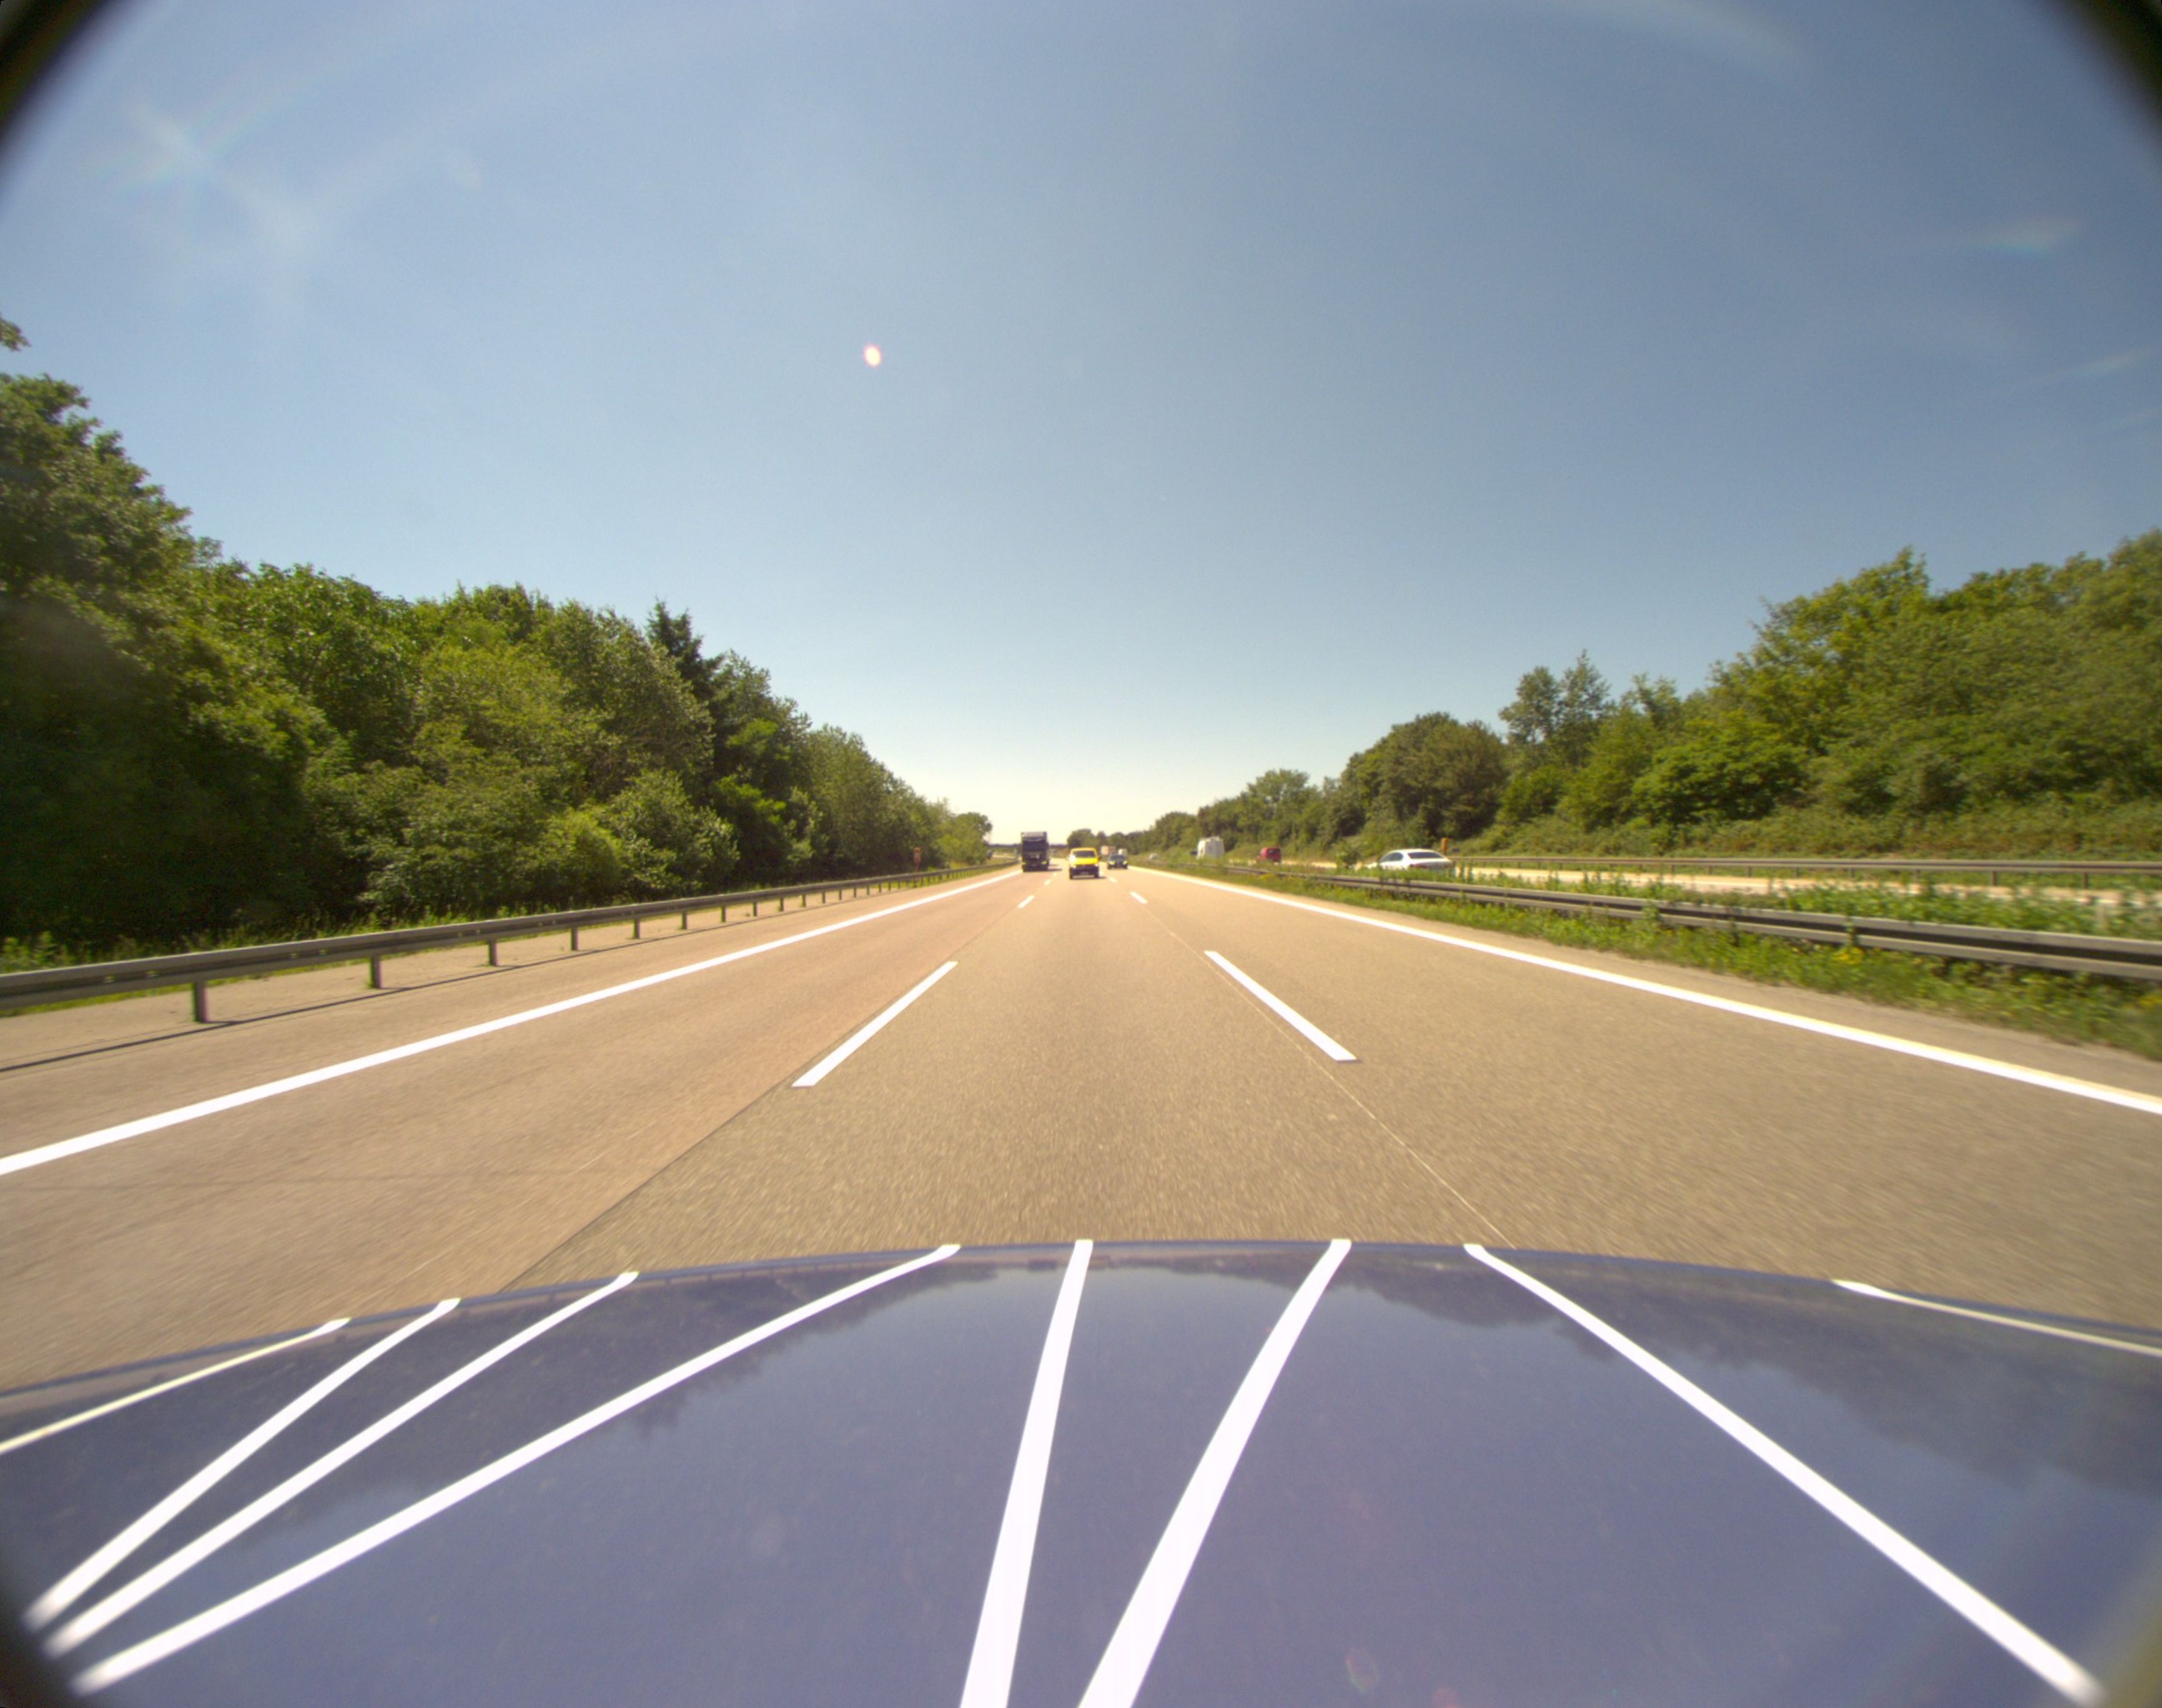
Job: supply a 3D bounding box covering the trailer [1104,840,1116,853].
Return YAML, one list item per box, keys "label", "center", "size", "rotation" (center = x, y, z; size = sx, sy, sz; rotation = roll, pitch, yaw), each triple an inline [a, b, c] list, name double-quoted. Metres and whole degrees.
- label: "trailer"
  center: [9.814, -2.608, 255.243]
  size: [2.713, 4.159, 13.553]
  rotation: [-1, 0, -3]

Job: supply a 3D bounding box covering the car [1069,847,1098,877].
- label: "car"
  center: [0.137, 0.476, 48.633]
  size: [1.777, 1.882, 3.832]
  rotation: [0, 1, -1]

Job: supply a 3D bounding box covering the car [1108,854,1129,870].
- label: "car"
  center: [3.603, 0.737, 73.952]
  size: [1.726, 1.478, 3.999]
  rotation: [-1, 0, -1]

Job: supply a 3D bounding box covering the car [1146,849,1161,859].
- label: "car"
  center: [11.254, 0.005, 118.128]
  size: [1.767, 1.504, 4.392]
  rotation: [-2, 0, -1]

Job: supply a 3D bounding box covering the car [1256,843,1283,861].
- label: "car"
  center: [20.105, -0.222, 81.211]
  size: [1.708, 1.766, 4.766]
  rotation: [-2, 0, 0]

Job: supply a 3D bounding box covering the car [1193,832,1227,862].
- label: "car"
  center: [12.592, -0.646, 74.512]
  size: [2.094, 2.763, 5.827]
  rotation: [-2, 0, -2]

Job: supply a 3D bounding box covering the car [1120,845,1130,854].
- label: "car"
  center: [12.784, -1.326, 222.688]
  size: [2.235, 2.561, 7.389]
  rotation: [-1, 0, -2]

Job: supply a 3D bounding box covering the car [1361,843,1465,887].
- label: "car"
  center: [12.768, 0.392, 29.590]
  size: [1.843, 1.527, 4.919]
  rotation: [-2, 0, -1]

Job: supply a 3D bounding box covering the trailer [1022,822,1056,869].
- label: "trailer"
  center: [-4.485, -0.928, 83.465]
  size: [2.908, 4.630, 13.984]
  rotation: [-2, 0, 0]

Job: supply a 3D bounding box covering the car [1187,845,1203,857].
- label: "car"
  center: [16.302, -0.442, 108.811]
  size: [1.671, 1.744, 4.000]
  rotation: [-2, 0, 1]

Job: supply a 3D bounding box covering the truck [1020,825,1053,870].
- label: "truck"
  center: [-4.420, -0.678, 76.191]
  size: [2.915, 4.231, 4.974]
  rotation: [-2, 1, -1]
